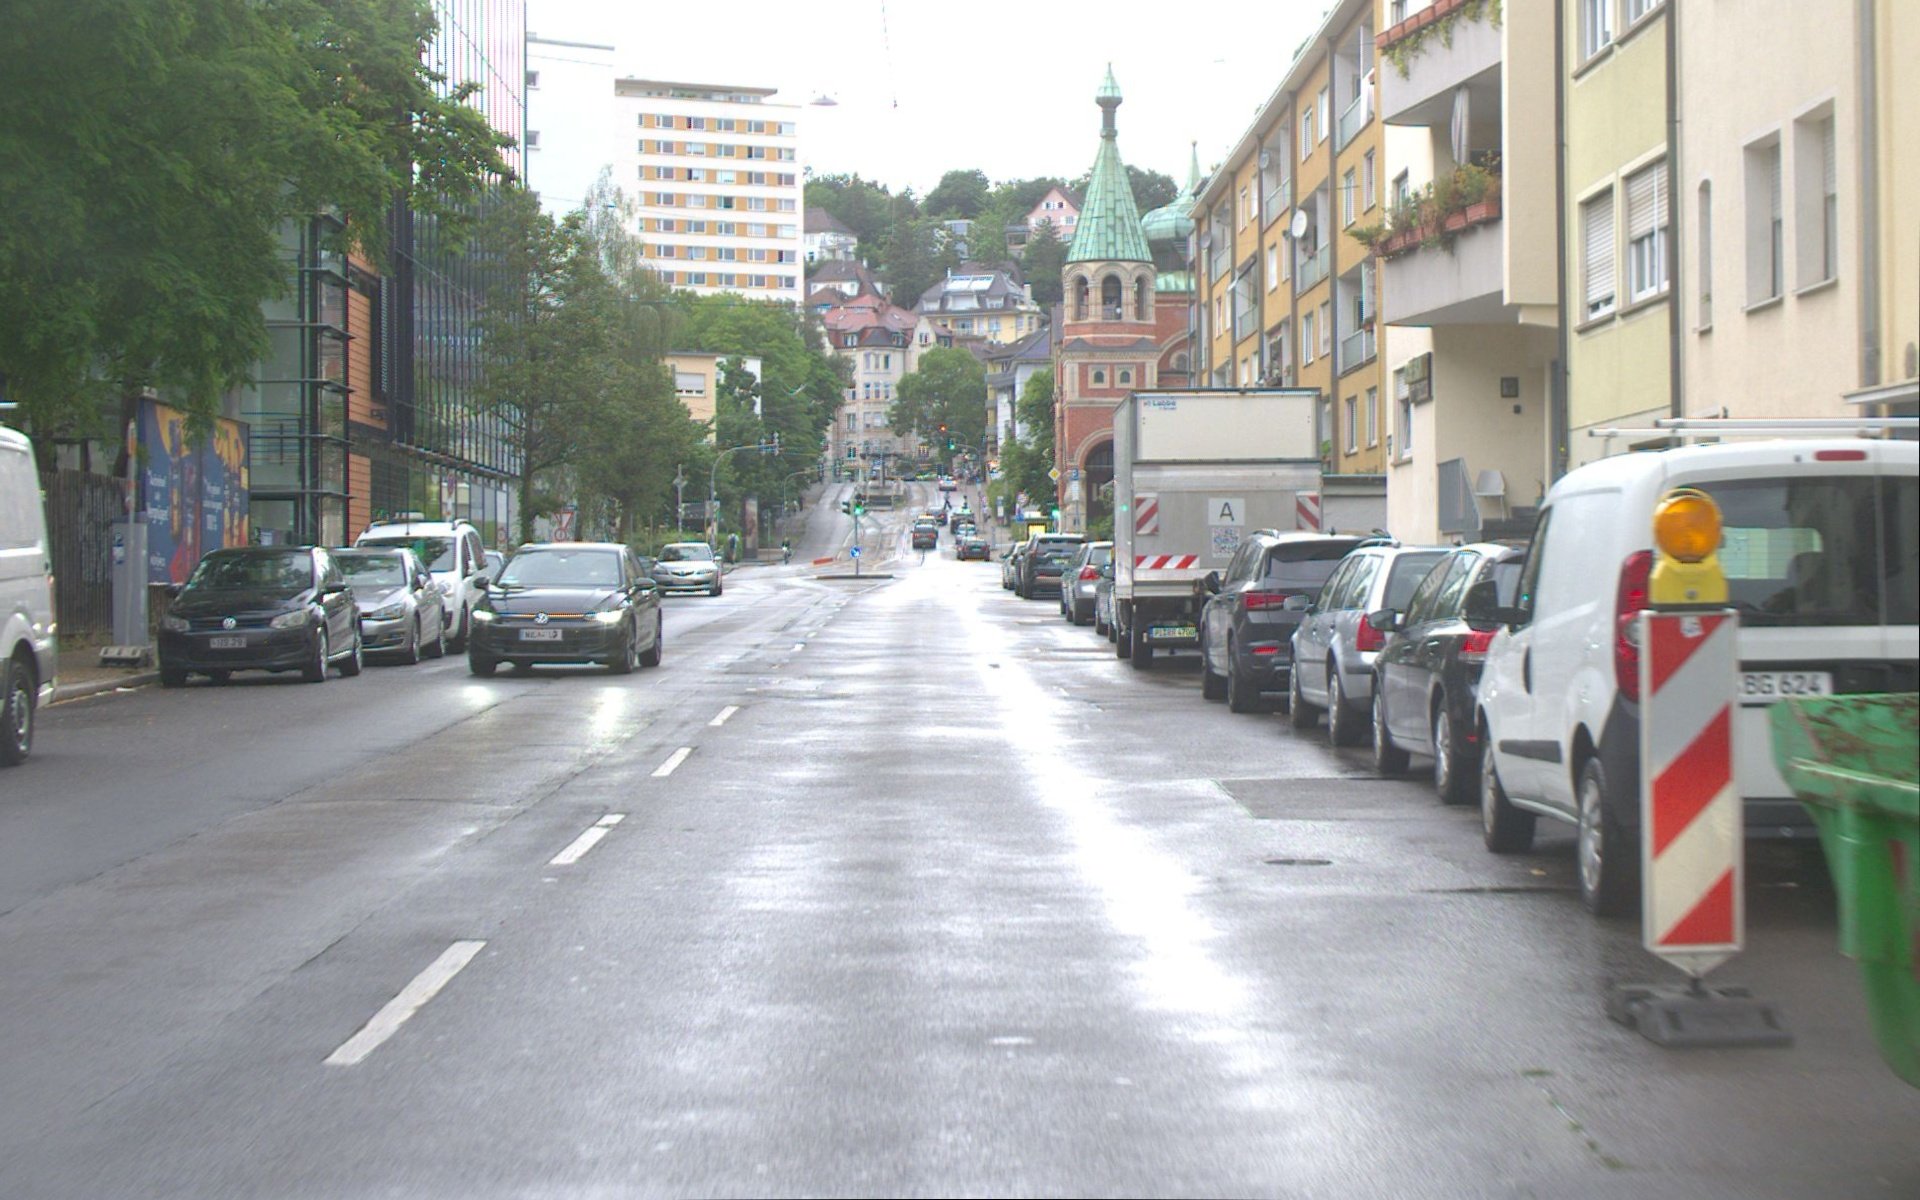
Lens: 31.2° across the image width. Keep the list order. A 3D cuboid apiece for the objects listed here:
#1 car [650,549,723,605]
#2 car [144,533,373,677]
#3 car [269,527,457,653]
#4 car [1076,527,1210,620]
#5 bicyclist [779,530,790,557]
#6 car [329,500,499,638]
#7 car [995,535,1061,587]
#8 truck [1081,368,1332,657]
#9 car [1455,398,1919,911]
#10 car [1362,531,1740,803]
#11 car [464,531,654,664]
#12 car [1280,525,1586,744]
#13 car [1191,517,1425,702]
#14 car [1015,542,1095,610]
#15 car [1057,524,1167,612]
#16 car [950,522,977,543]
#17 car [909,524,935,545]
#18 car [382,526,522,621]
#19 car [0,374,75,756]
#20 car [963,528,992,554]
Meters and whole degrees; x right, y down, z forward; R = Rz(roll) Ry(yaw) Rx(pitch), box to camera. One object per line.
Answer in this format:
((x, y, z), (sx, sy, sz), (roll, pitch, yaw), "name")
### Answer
((-7.324, -0.610, 92.338), (1.709, 1.445, 4.295), (-1, 0, -2), "car")
((-7.326, 0.032, 36.207), (1.682, 1.394, 3.911), (-1, 0, -2), "car")
((-7.409, -0.136, 43.006), (1.682, 1.457, 4.277), (-1, 0, -2), "car")
((2.868, -0.431, 54.649), (1.663, 1.416, 3.922), (0, 1, -4), "car")
((-11.046, -3.550, 216.350), (0.677, 1.656, 0.650), (0, 0, -3), "bicyclist")
((-7.534, -0.425, 47.797), (1.723, 1.794, 4.344), (-1, 0, -1), "car")
((2.052, -1.195, 104.320), (1.817, 1.517, 4.076), (1, 1, -1), "car")
((2.831, -1.001, 41.217), (2.469, 3.161, 7.036), (0, 1, 0), "truck")
((3.334, 0.162, 14.949), (1.817, 1.917, 4.239), (0, 1, 1), "car")
((3.398, 0.326, 20.321), (1.577, 1.465, 3.502), (0, 1, -1), "car")
((-4.491, -0.056, 39.034), (1.805, 1.411, 4.384), (0, 1, -2), "car")
((3.438, 0.198, 25.640), (1.663, 1.494, 4.098), (0, 1, -1), "car")
((3.104, 0.043, 31.366), (1.663, 1.568, 4.098), (0, 1, -1), "car")
((2.382, -0.623, 86.998), (1.817, 1.647, 4.076), (1, 1, -1), "car")
((2.683, -0.573, 61.399), (1.663, 1.497, 3.922), (0, 1, -2), "car")
((0.244, -5.087, 258.467), (1.892, 1.505, 4.000), (1, 1, -1), "car")
((-2.807, -4.807, 253.409), (1.908, 1.505, 4.000), (0, 1, -1), "car")
((-7.814, -0.413, 53.203), (1.723, 1.371, 4.344), (-1, 0, -3), "car")
((-7.245, -0.185, 21.128), (2.012, 2.478, 5.983), (-1, 1, 0), "car")
((1.162, -3.785, 221.852), (1.732, 1.648, 4.000), (0, 1, 2), "car")
